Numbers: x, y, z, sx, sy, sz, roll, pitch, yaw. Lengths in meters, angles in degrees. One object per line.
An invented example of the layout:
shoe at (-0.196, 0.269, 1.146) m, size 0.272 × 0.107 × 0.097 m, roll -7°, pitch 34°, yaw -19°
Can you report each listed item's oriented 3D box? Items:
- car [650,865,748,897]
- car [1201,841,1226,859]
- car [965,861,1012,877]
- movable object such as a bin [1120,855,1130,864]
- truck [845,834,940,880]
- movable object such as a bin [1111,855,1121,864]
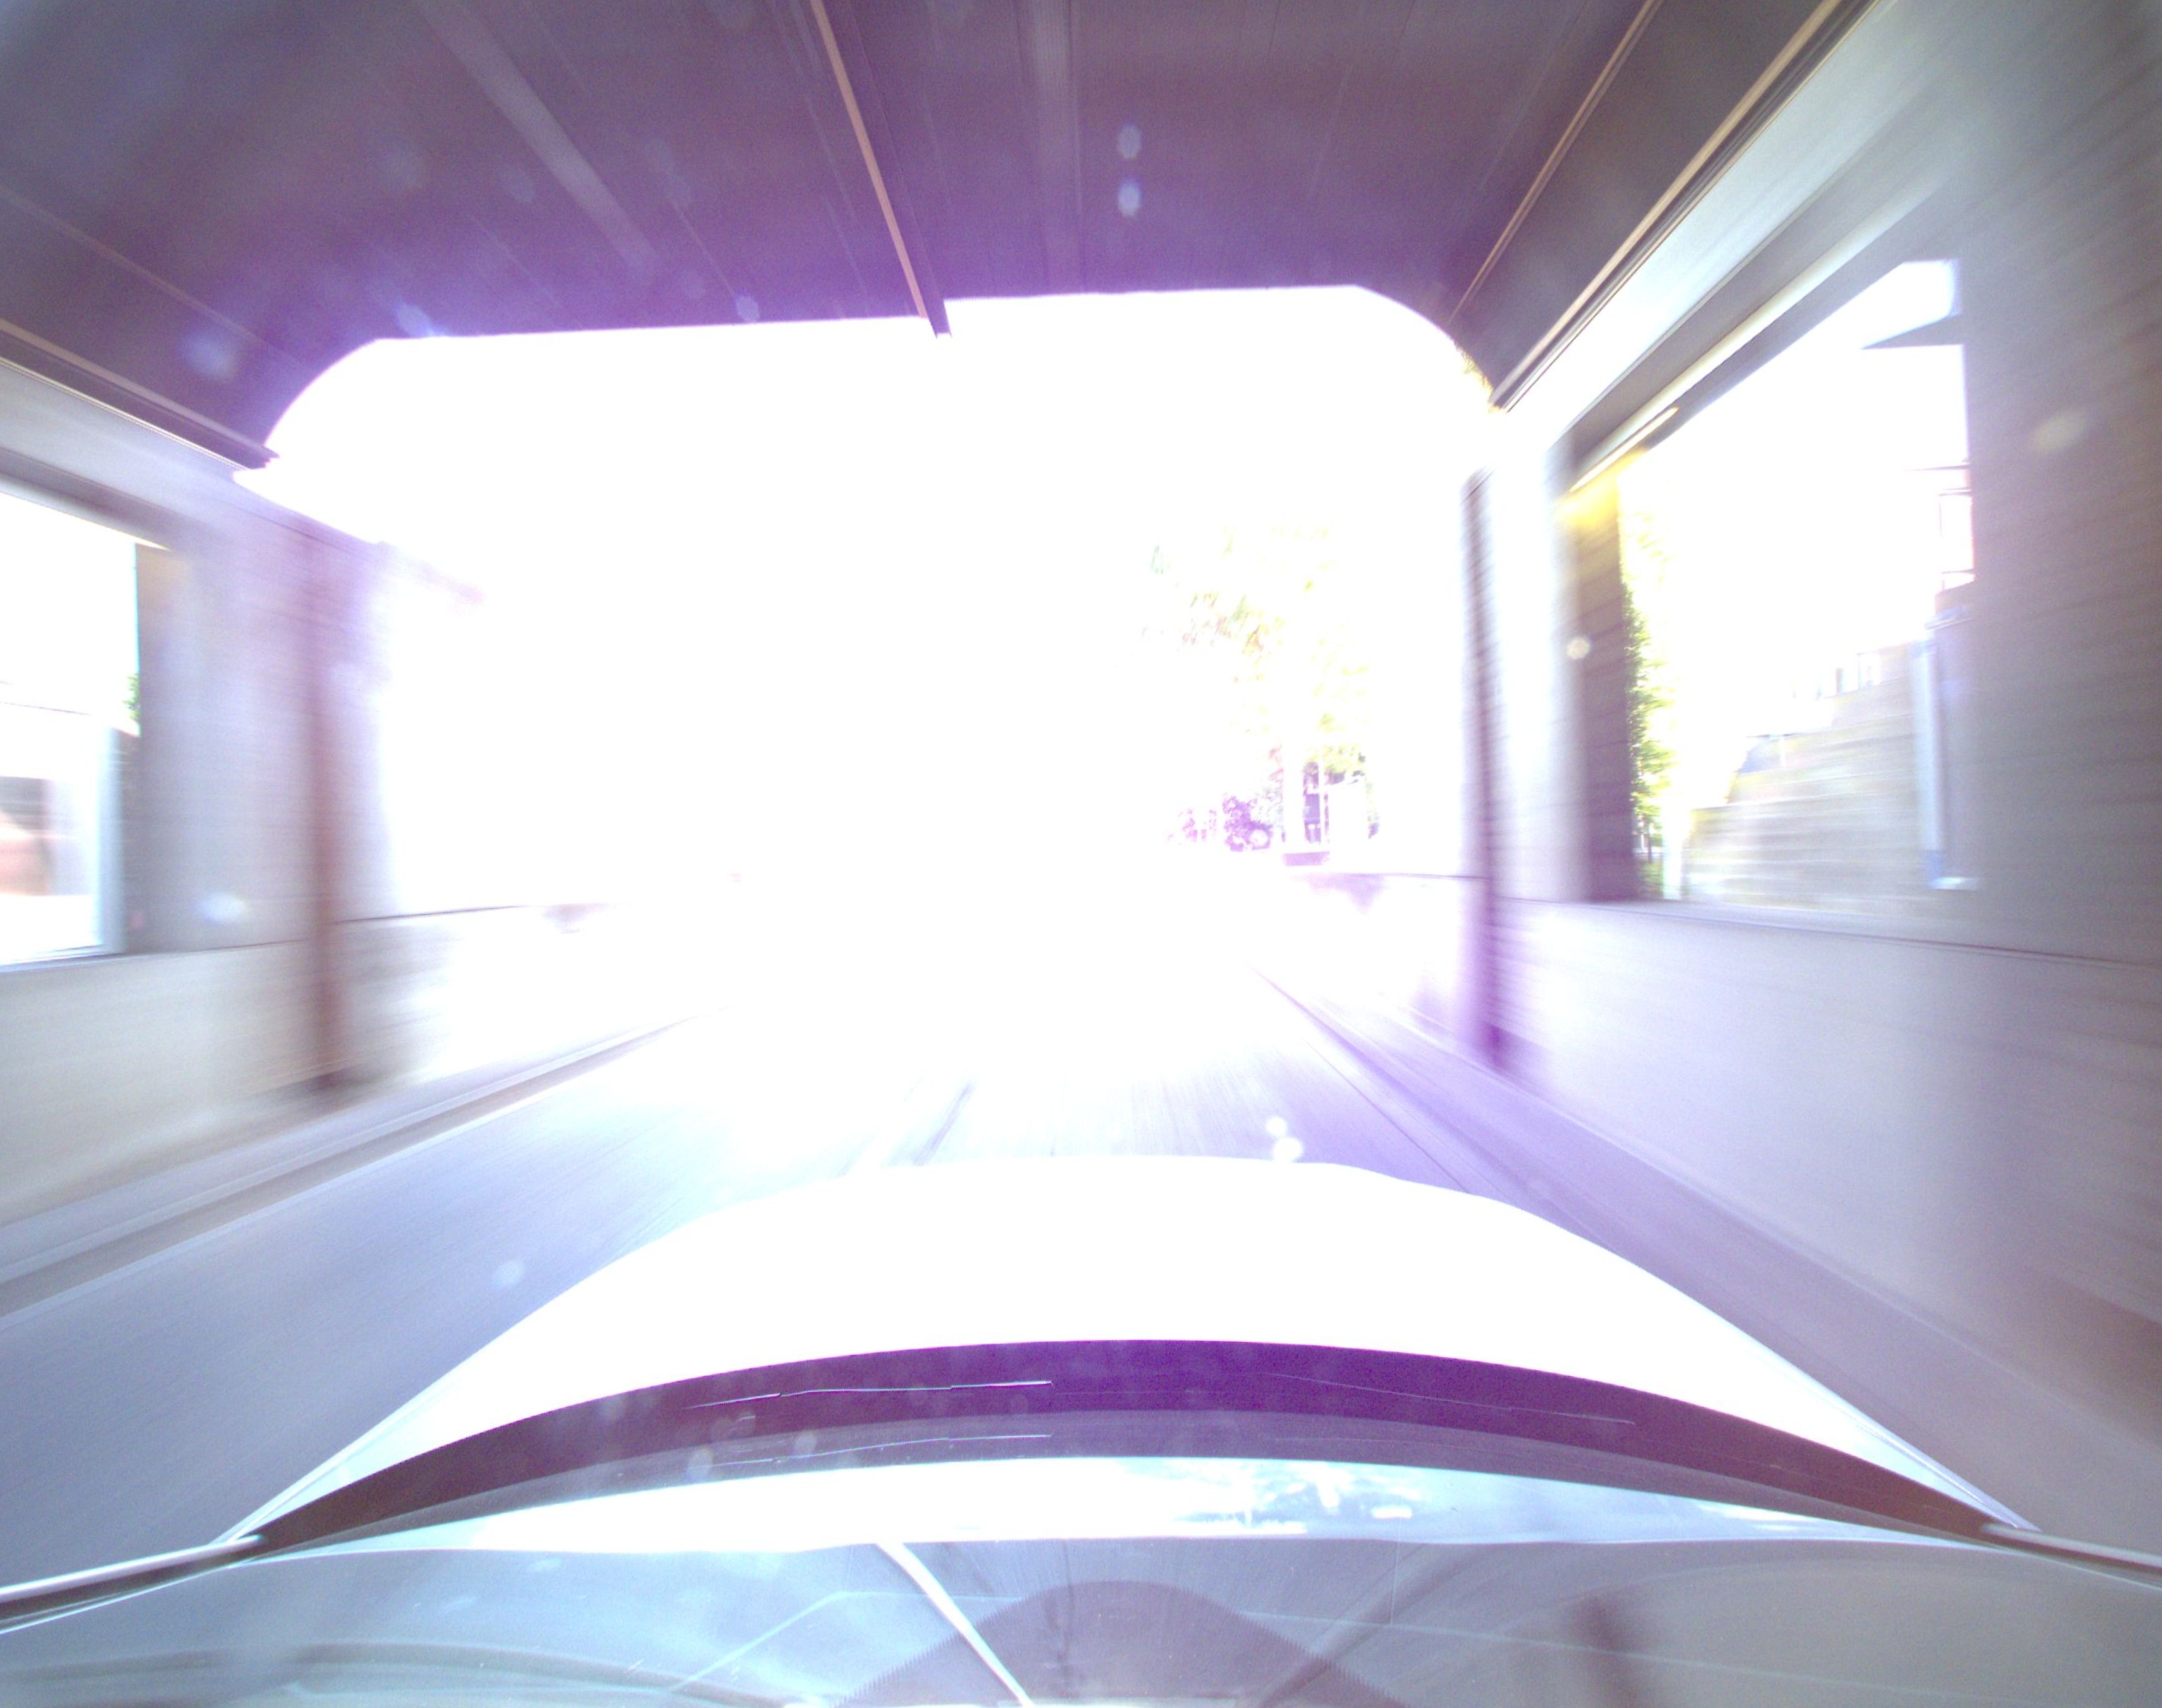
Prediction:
car at (-19.095, 1.352, 40.867) m, size 4.025 × 1.448 × 1.881 m, roll -2°, pitch -3°, yaw -11°
car at (14.513, -0.412, 89.472) m, size 1.831 × 1.814 × 4.661 m, roll 0°, pitch -1°, yaw -3°
car at (-9.034, 1.469, 79.330) m, size 4.170 × 1.490 × 1.888 m, roll -1°, pitch -1°, yaw 28°
movable object such as a bin at (7.020, 0.911, 130.459) m, size 1.363 × 1.418 × 1.063 m, roll 0°, pitch -1°, yaw -5°
truck at (-17.656, 0.323, 75.900) m, size 9.214 × 3.884 × 2.728 m, roll -2°, pitch -2°, yaw 31°
movable object such as a bin at (5.616, 0.912, 130.283) m, size 1.363 × 1.418 × 1.063 m, roll 0°, pitch -1°, yaw -5°
